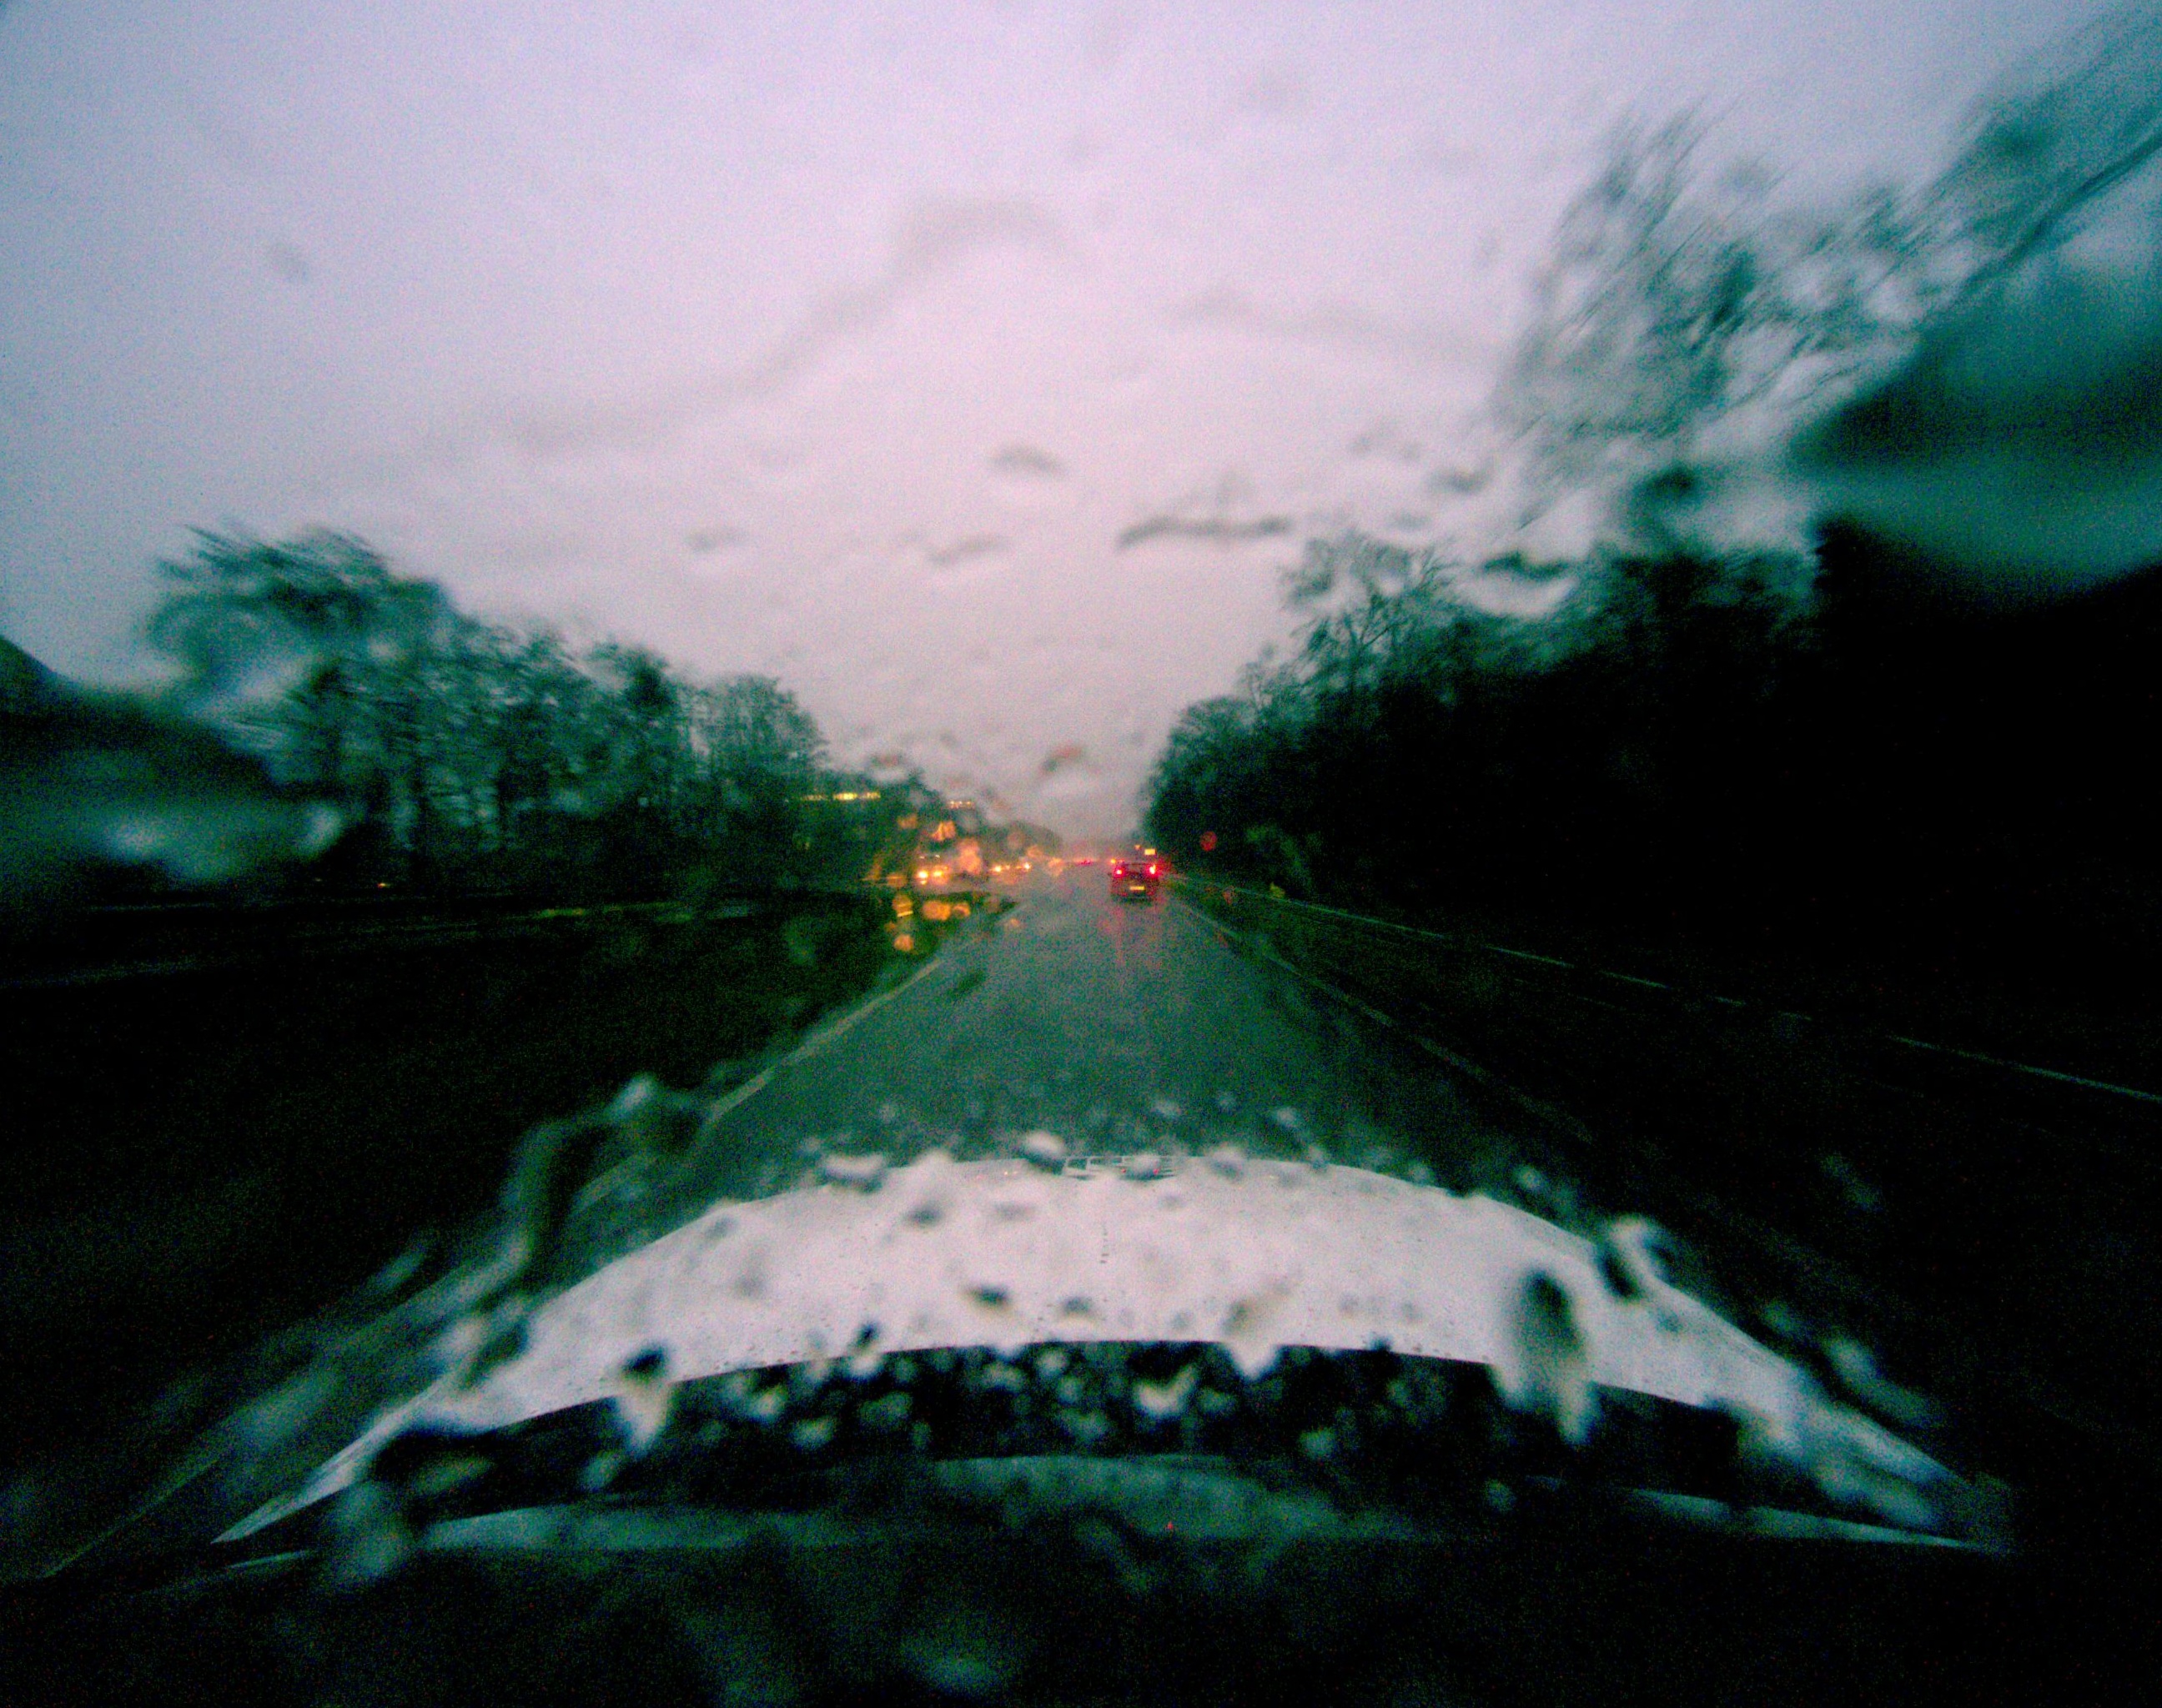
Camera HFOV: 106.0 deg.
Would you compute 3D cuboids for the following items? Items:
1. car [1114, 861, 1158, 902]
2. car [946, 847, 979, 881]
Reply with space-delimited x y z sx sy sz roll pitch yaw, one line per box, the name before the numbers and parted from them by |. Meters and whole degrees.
car | 2.001 0.993 30.267 1.521 1.416 3.481 -1 -1 2
car | -8.850 0.725 61.055 1.996 2.453 3.996 0 -1 -3
